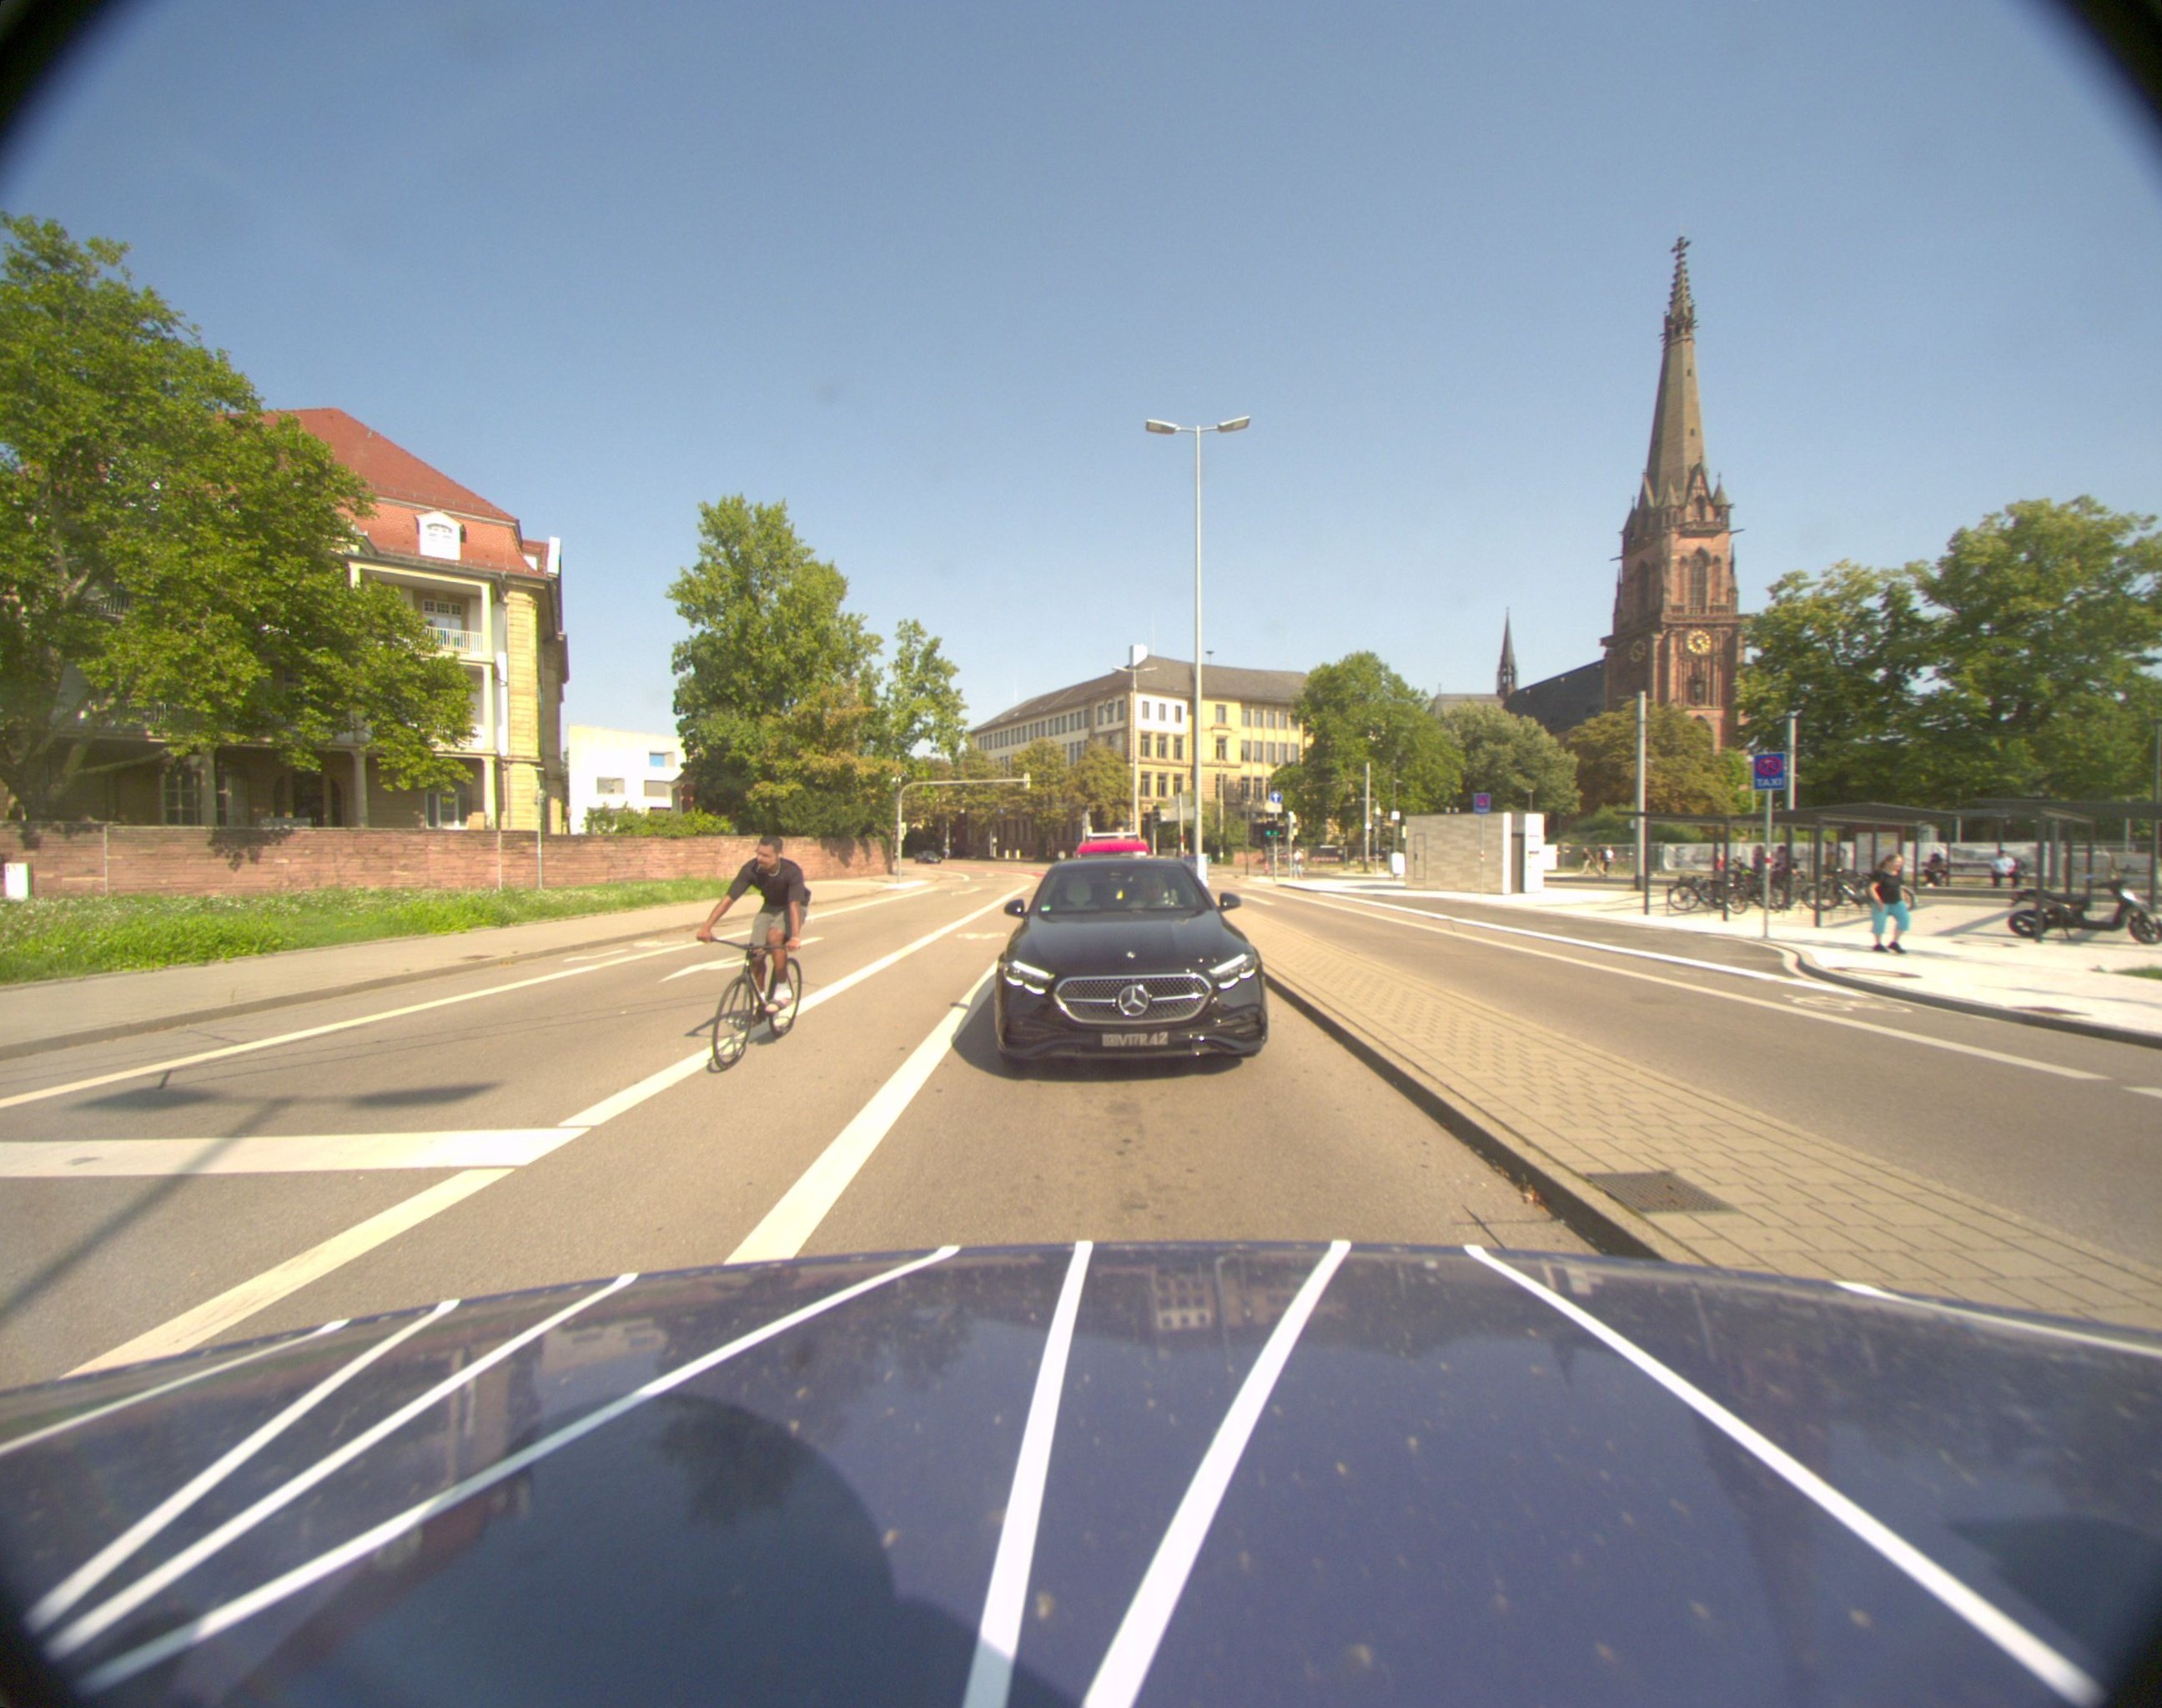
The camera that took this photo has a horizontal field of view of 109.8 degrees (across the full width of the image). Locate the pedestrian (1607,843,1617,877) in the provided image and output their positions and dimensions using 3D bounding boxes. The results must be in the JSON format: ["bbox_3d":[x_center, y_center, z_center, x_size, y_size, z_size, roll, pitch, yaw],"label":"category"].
[{"bbox_3d":[26.167,0.293,37.470,0.394,1.685,0.244,-1,2,-32],"label":"pedestrian"}]

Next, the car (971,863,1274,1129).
[{"bbox_3d":[0.376,0.883,7.034,1.824,1.432,4.873,0,1,3],"label":"car"}]

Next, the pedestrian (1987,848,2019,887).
[{"bbox_3d":[32.750,0.469,27.002,0.663,1.387,0.642,-1,2,-35],"label":"pedestrian"}]

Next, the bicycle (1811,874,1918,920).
[{"bbox_3d":[19.028,1.017,18.495,0.534,0.981,1.709,-1,1,-32],"label":"bicycle"}]

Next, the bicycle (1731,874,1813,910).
[{"bbox_3d":[18.906,1.013,20.826,0.402,0.887,1.584,-1,1,-32],"label":"bicycle"}]

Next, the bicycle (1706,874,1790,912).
[{"bbox_3d":[17.473,1.006,19.944,0.402,0.887,1.584,-1,1,-32],"label":"bicycle"}]

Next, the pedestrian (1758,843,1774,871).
[{"bbox_3d":[30.257,0.128,33.559,0.440,1.217,0.382,-3,2,-31],"label":"pedestrian"}]

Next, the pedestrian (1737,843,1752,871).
[{"bbox_3d":[29.628,0.150,33.916,0.440,1.217,0.382,-3,2,-31],"label":"pedestrian"}]

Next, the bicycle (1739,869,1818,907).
[{"bbox_3d":[19.831,0.951,21.639,0.453,0.972,1.584,-3,2,-32],"label":"bicycle"}]

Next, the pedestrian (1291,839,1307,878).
[{"bbox_3d":[11.542,0.235,40.209,0.732,2.002,0.715,0,1,11],"label":"pedestrian"}]

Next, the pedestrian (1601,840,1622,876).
[{"bbox_3d":[25.862,0.197,37.026,0.716,1.738,0.389,0,1,0],"label":"pedestrian"}]

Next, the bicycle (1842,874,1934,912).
[{"bbox_3d":[20.983,0.992,19.792,0.411,0.887,1.584,-1,1,-32],"label":"bicycle"}]

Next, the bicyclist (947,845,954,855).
[{"bbox_3d":[-17.808,-0.525,103.646,0.668,1.332,0.922,-1,2,-37],"label":"bicyclist"}]

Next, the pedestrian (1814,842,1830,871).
[{"bbox_3d":[31.522,0.098,32.337,0.440,1.217,0.382,-3,2,-31],"label":"pedestrian"}]

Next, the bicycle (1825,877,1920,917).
[{"bbox_3d":[19.825,1.060,19.056,0.411,0.887,1.584,-1,1,-32],"label":"bicycle"}]

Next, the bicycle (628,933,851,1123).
[{"bbox_3d":[-2.515,1.229,5.958,0.774,0.970,2.149,0,1,0],"label":"bicycle"}]

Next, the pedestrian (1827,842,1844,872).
[{"bbox_3d":[31.730,0.129,31.950,0.440,1.217,0.382,-3,2,-31],"label":"pedestrian"}]

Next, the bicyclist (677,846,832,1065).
[{"bbox_3d":[-2.504,0.728,5.946,0.774,1.569,0.990,0,1,0],"label":"bicyclist"}]

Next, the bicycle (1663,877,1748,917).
[{"bbox_3d":[15.606,1.053,19.025,0.402,0.887,1.584,-1,1,-32],"label":"bicycle"}]

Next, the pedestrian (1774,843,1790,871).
[{"bbox_3d":[30.587,0.120,33.138,0.440,1.217,0.382,-3,2,-31],"label":"pedestrian"}]

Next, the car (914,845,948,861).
[{"bbox_3d":[-16.344,-0.104,82.692,2.003,1.600,4.235,-2,1,-36],"label":"car"}]

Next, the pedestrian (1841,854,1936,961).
[{"bbox_3d":[12.268,0.795,11.556,0.754,1.556,0.666,1,1,-16],"label":"pedestrian"}]

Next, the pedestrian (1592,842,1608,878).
[{"bbox_3d":[24.980,0.294,36.579,0.517,1.697,0.504,1,2,26],"label":"pedestrian"}]

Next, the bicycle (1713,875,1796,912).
[{"bbox_3d":[17.929,1.042,20.264,0.411,0.887,1.584,-1,1,-32],"label":"bicycle"}]

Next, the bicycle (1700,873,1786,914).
[{"bbox_3d":[16.908,0.991,19.443,0.422,0.962,1.584,-1,1,-32],"label":"bicycle"}]

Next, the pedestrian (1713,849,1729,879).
[{"bbox_3d":[29.002,0.459,34.438,0.394,1.310,0.414,-3,2,-28],"label":"pedestrian"}]

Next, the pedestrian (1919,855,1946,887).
[{"bbox_3d":[31.913,0.630,28.488,0.468,1.190,0.572,-1,2,-31],"label":"pedestrian"}]

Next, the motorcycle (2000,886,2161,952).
[{"bbox_3d":[17.841,1.127,13.571,0.544,1.003,1.741,-1,1,-32],"label":"motorcycle"}]

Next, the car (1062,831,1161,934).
[{"bbox_3d":[0.627,0.499,15.456,1.736,1.808,4.278,0,0,3],"label":"car"}]

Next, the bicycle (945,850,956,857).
[{"bbox_3d":[-17.827,-0.127,103.696,0.668,0.951,2.082,-1,1,-37],"label":"bicycle"}]

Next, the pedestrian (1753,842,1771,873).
[{"bbox_3d":[29.312,0.155,32.697,0.440,1.310,0.434,-3,2,-31],"label":"pedestrian"}]
